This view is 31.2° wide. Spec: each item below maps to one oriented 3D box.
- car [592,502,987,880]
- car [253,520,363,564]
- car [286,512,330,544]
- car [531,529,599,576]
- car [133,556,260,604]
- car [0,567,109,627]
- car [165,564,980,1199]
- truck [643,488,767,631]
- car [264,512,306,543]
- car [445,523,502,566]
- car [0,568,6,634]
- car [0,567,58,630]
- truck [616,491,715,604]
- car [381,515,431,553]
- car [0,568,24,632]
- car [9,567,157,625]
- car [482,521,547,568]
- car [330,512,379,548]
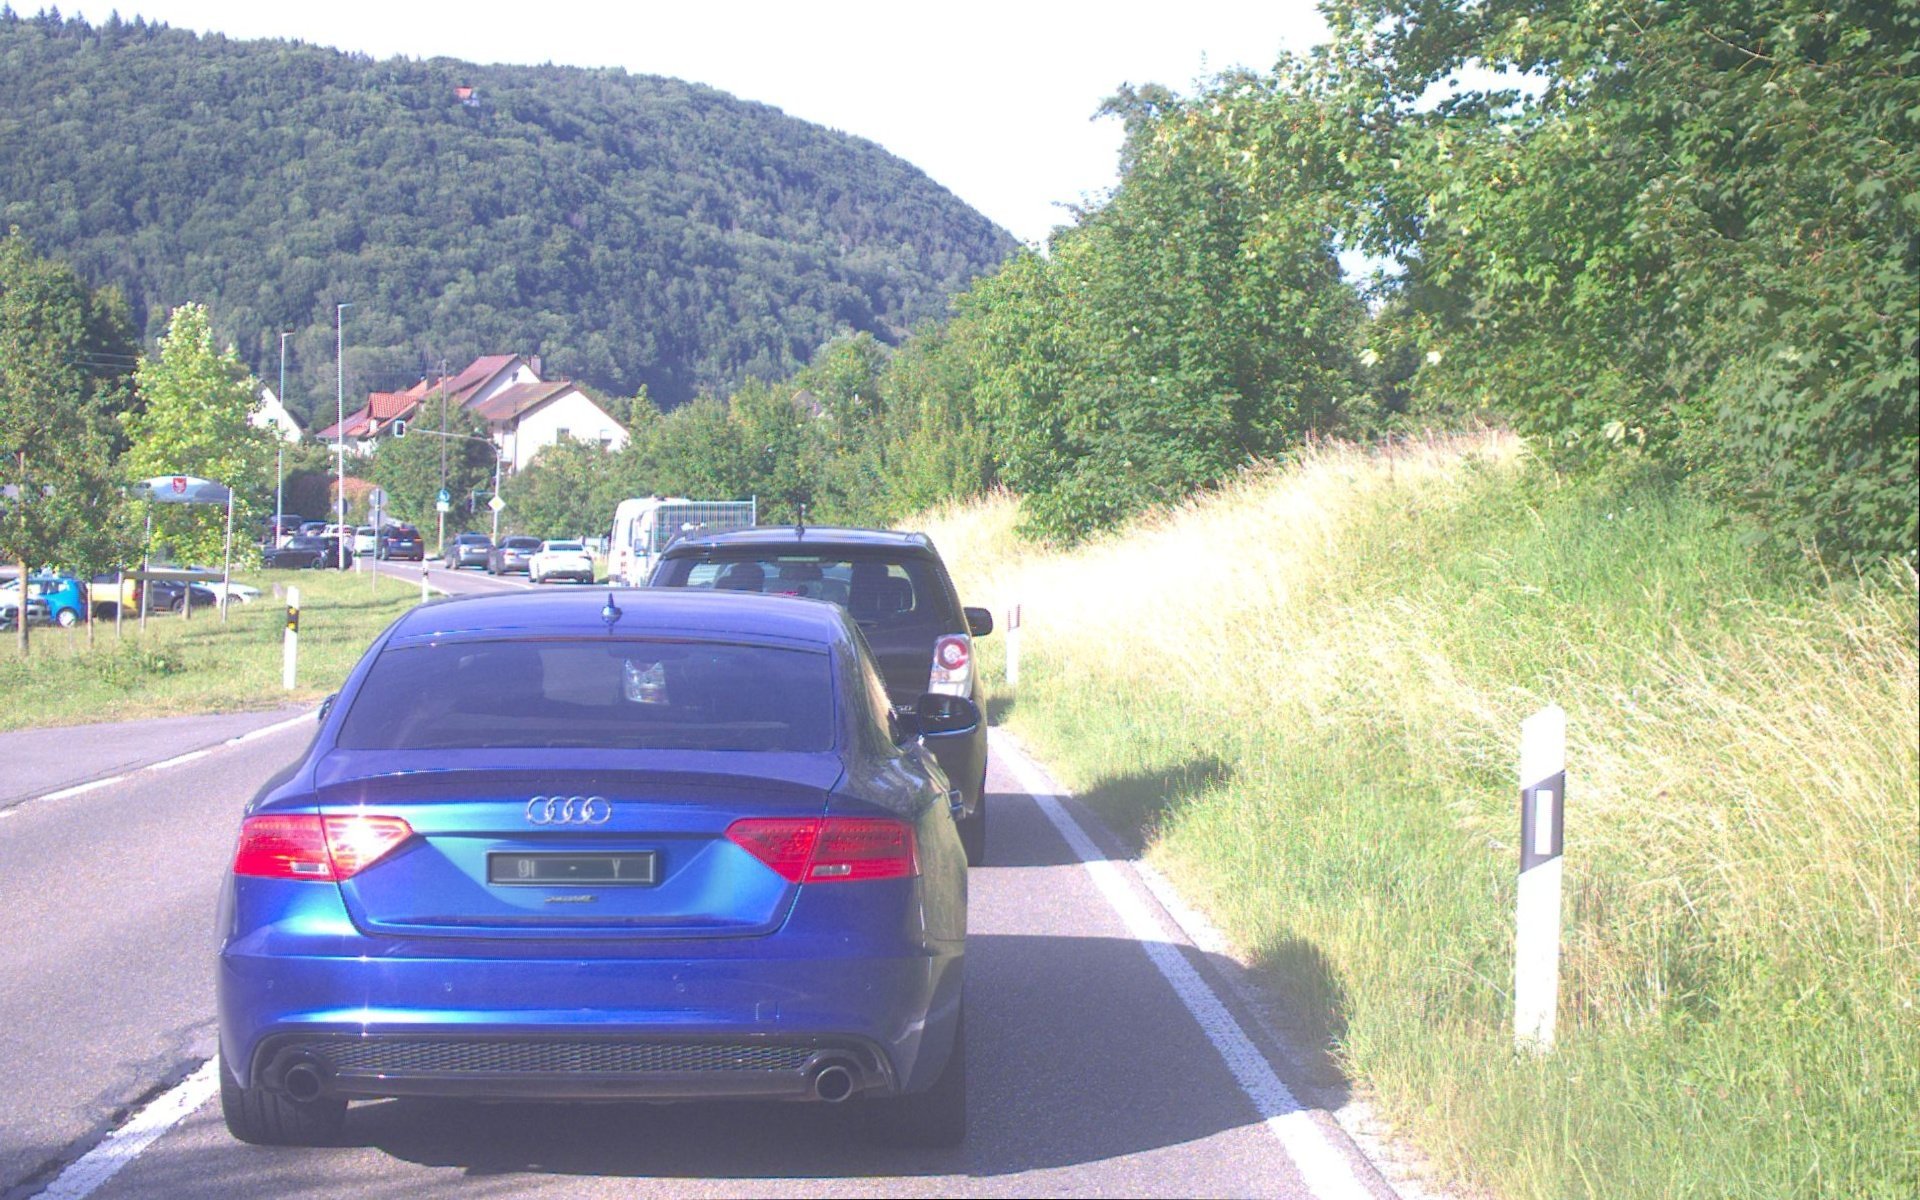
[{"bbox_3d":[-0.757,0.394,17.378,1.754,1.675,3.846,1,0,0],"label":"car"},{"bbox_3d":[-25.958,-2.322,136.792,3.993,1.706,1.849,1,0,28],"label":"car"},{"bbox_3d":[-35.658,-3.943,187.915,1.845,1.706,4.001,1,1,-18],"label":"car"},{"bbox_3d":[-13.102,-1.569,113.905,1.845,1.477,4.001,1,0,-12],"label":"car"},{"bbox_3d":[-26.315,-0.696,118.567,3.986,1.573,1.753,1,0,-3],"label":"car"},{"bbox_3d":[-27.315,-0.112,101.332,3.986,1.705,2.000,1,0,-3],"label":"car"},{"bbox_3d":[-0.834,0.630,9.394,1.754,1.425,3.846,1,0,0],"label":"car"},{"bbox_3d":[-4.888,-0.766,65.630,2.229,2.561,6.104,1,0,-5],"label":"truck"},{"bbox_3d":[-38.423,-4.106,195.561,1.845,1.706,4.001,1,1,-18],"label":"car"},{"bbox_3d":[-19.951,-2.258,140.925,1.845,1.706,4.001,1,0,-15],"label":"car"},{"bbox_3d":[-26.846,0.009,88.604,3.986,1.705,2.000,1,0,-3],"label":"car"},{"bbox_3d":[-27.305,-0.060,95.545,3.986,1.705,2.000,1,0,-3],"label":"car"},{"bbox_3d":[-7.025,-1.231,81.686,2.229,2.561,6.709,1,0,-5],"label":"truck"},{"bbox_3d":[-25.995,-3.080,161.269,1.845,1.706,4.001,1,0,-16],"label":"car"},{"bbox_3d":[-27.368,-0.031,92.260,3.986,1.705,2.000,1,0,-3],"label":"car"},{"bbox_3d":[-26.515,-0.125,104.007,3.986,1.705,2.000,1,0,-3],"label":"car"},{"bbox_3d":[-16.553,-2.052,127.712,1.845,1.706,4.001,1,0,-15],"label":"car"},{"bbox_3d":[-30.283,-3.491,171.828,1.845,1.706,4.001,1,1,-18],"label":"car"}]
